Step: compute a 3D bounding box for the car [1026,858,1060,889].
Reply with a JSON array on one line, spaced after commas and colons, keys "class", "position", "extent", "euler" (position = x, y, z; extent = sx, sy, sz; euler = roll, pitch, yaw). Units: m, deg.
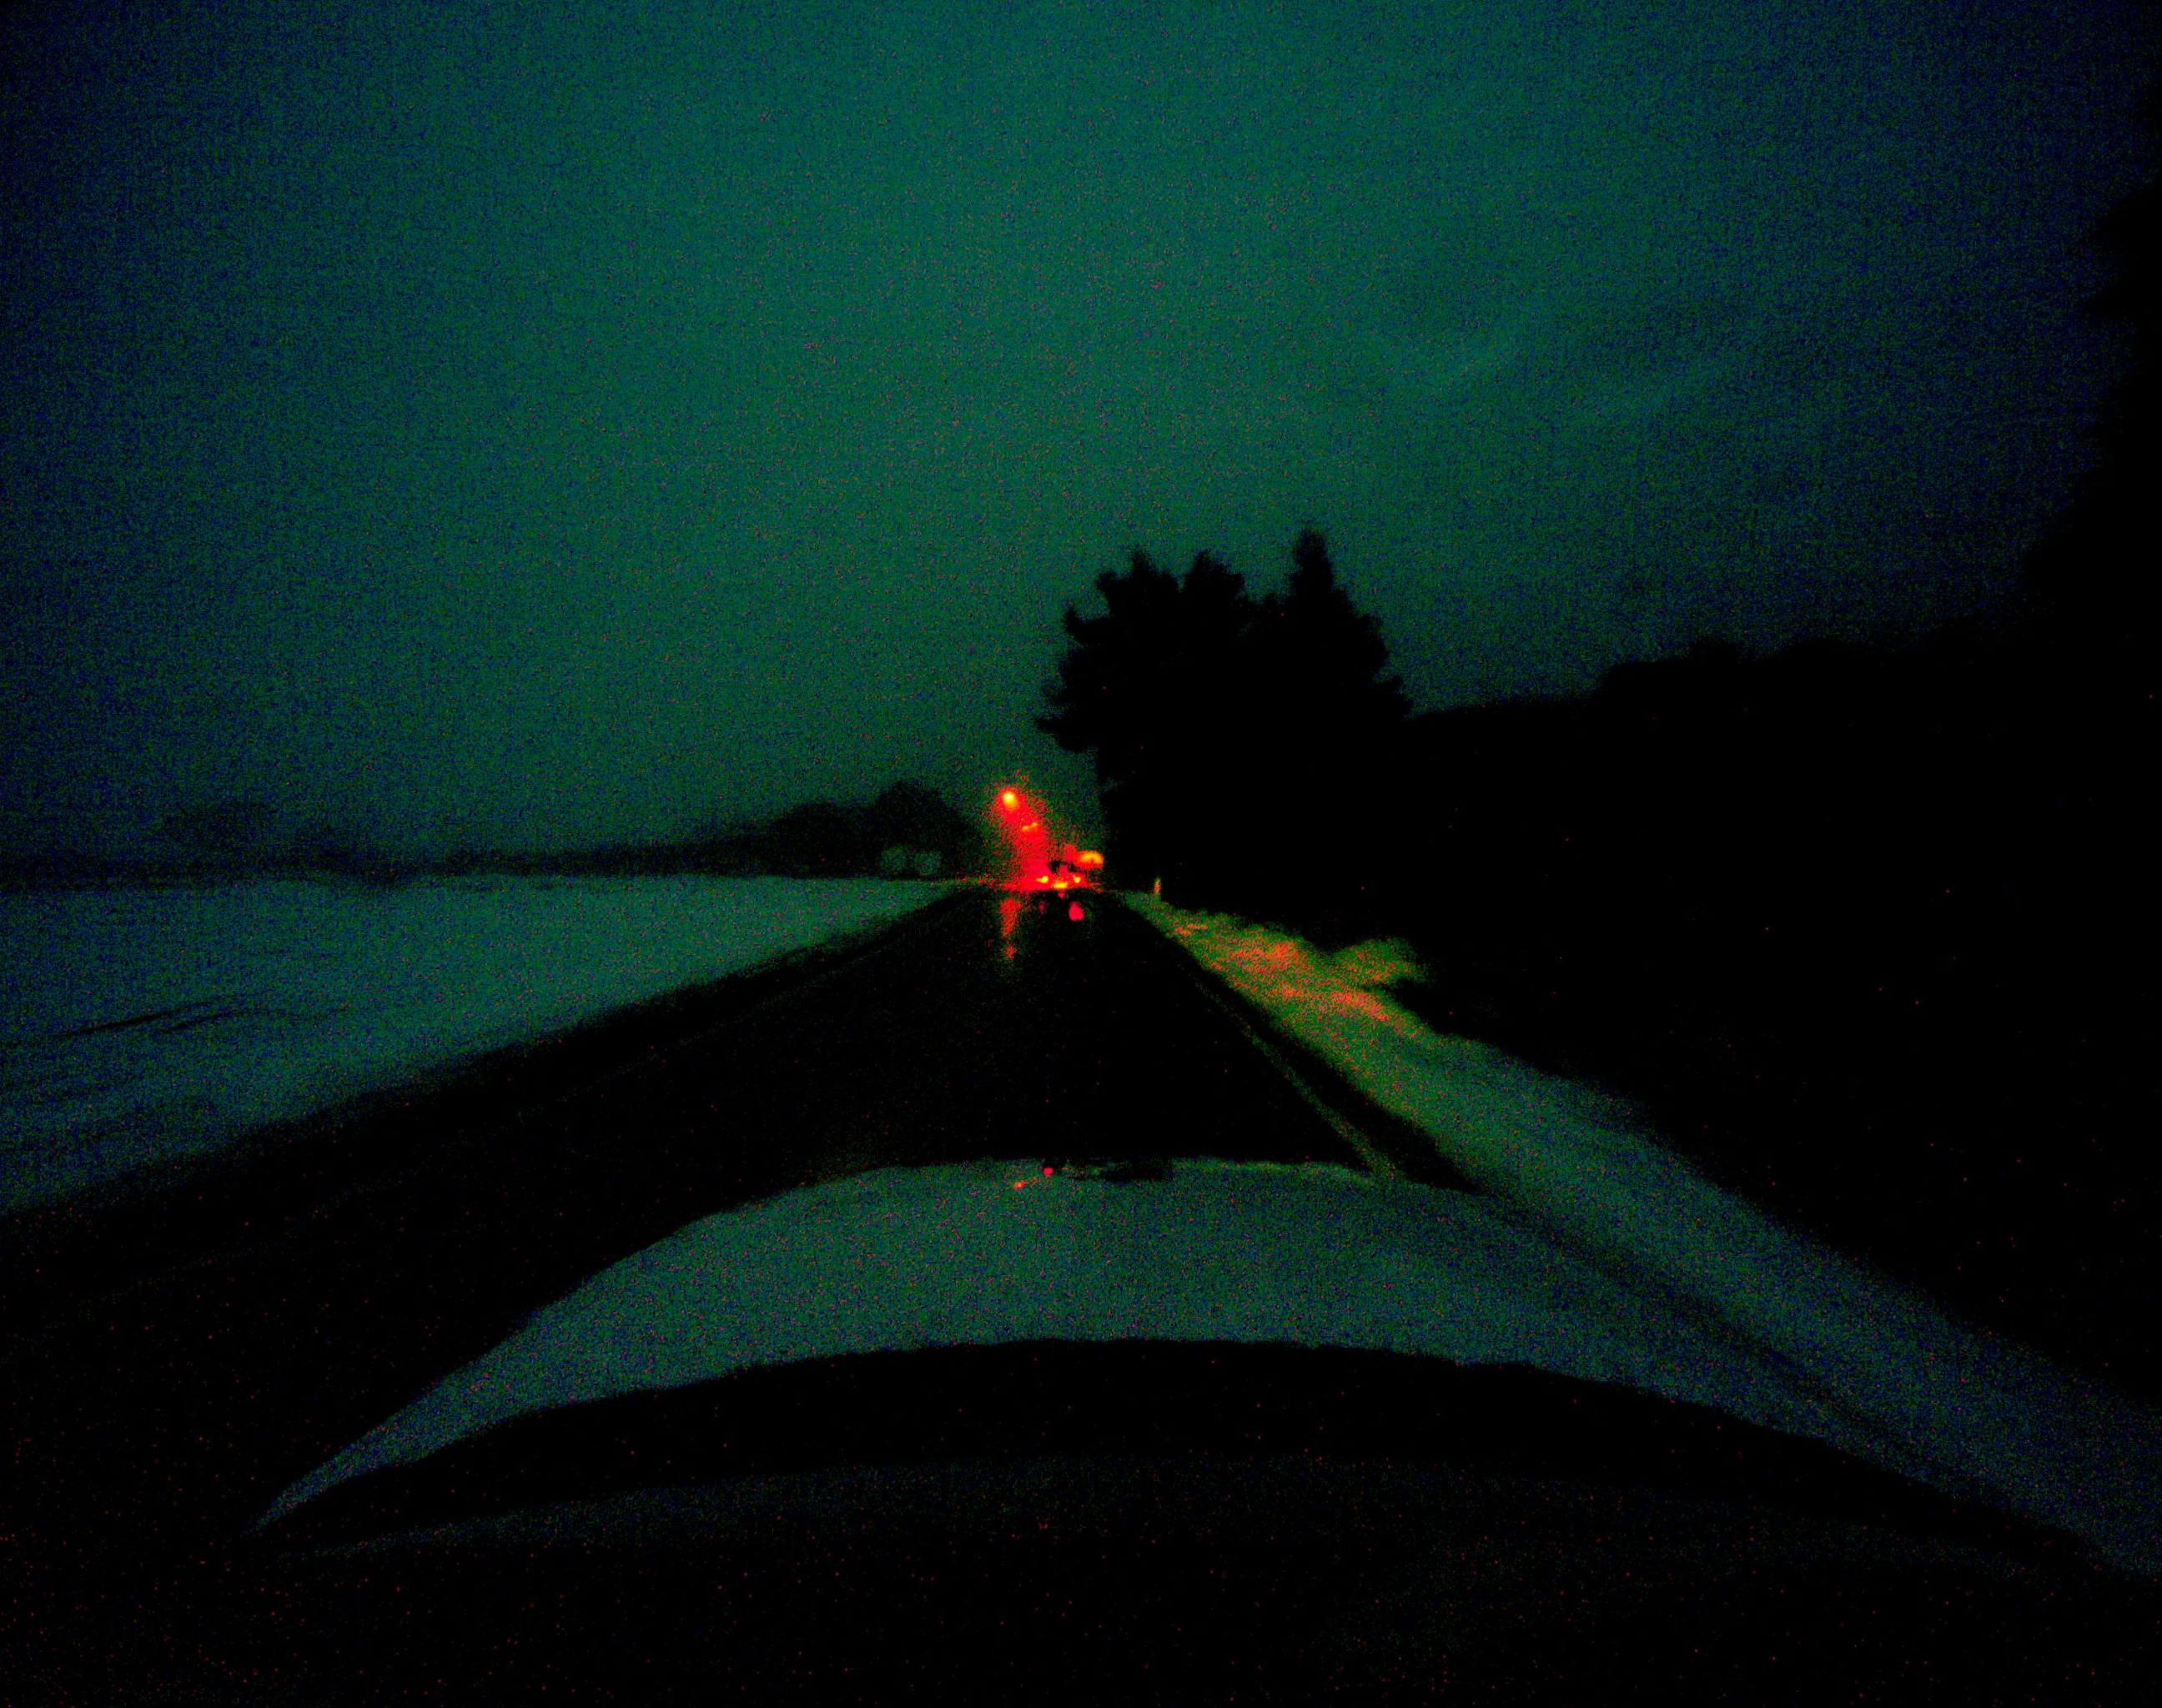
[{"class": "car", "position": [-2.278, 1.146, 49.039], "extent": [1.989, 1.750, 3.996], "euler": [-1, -1, -3]}]

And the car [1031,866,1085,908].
[{"class": "car", "position": [-0.851, 1.266, 32.489], "extent": [1.987, 1.508, 3.999], "euler": [-1, -1, 0]}]

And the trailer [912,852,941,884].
[{"class": "trailer", "position": [-13.054, 1.194, 68.736], "extent": [1.697, 2.605, 3.418], "euler": [0, -1, -23]}]
